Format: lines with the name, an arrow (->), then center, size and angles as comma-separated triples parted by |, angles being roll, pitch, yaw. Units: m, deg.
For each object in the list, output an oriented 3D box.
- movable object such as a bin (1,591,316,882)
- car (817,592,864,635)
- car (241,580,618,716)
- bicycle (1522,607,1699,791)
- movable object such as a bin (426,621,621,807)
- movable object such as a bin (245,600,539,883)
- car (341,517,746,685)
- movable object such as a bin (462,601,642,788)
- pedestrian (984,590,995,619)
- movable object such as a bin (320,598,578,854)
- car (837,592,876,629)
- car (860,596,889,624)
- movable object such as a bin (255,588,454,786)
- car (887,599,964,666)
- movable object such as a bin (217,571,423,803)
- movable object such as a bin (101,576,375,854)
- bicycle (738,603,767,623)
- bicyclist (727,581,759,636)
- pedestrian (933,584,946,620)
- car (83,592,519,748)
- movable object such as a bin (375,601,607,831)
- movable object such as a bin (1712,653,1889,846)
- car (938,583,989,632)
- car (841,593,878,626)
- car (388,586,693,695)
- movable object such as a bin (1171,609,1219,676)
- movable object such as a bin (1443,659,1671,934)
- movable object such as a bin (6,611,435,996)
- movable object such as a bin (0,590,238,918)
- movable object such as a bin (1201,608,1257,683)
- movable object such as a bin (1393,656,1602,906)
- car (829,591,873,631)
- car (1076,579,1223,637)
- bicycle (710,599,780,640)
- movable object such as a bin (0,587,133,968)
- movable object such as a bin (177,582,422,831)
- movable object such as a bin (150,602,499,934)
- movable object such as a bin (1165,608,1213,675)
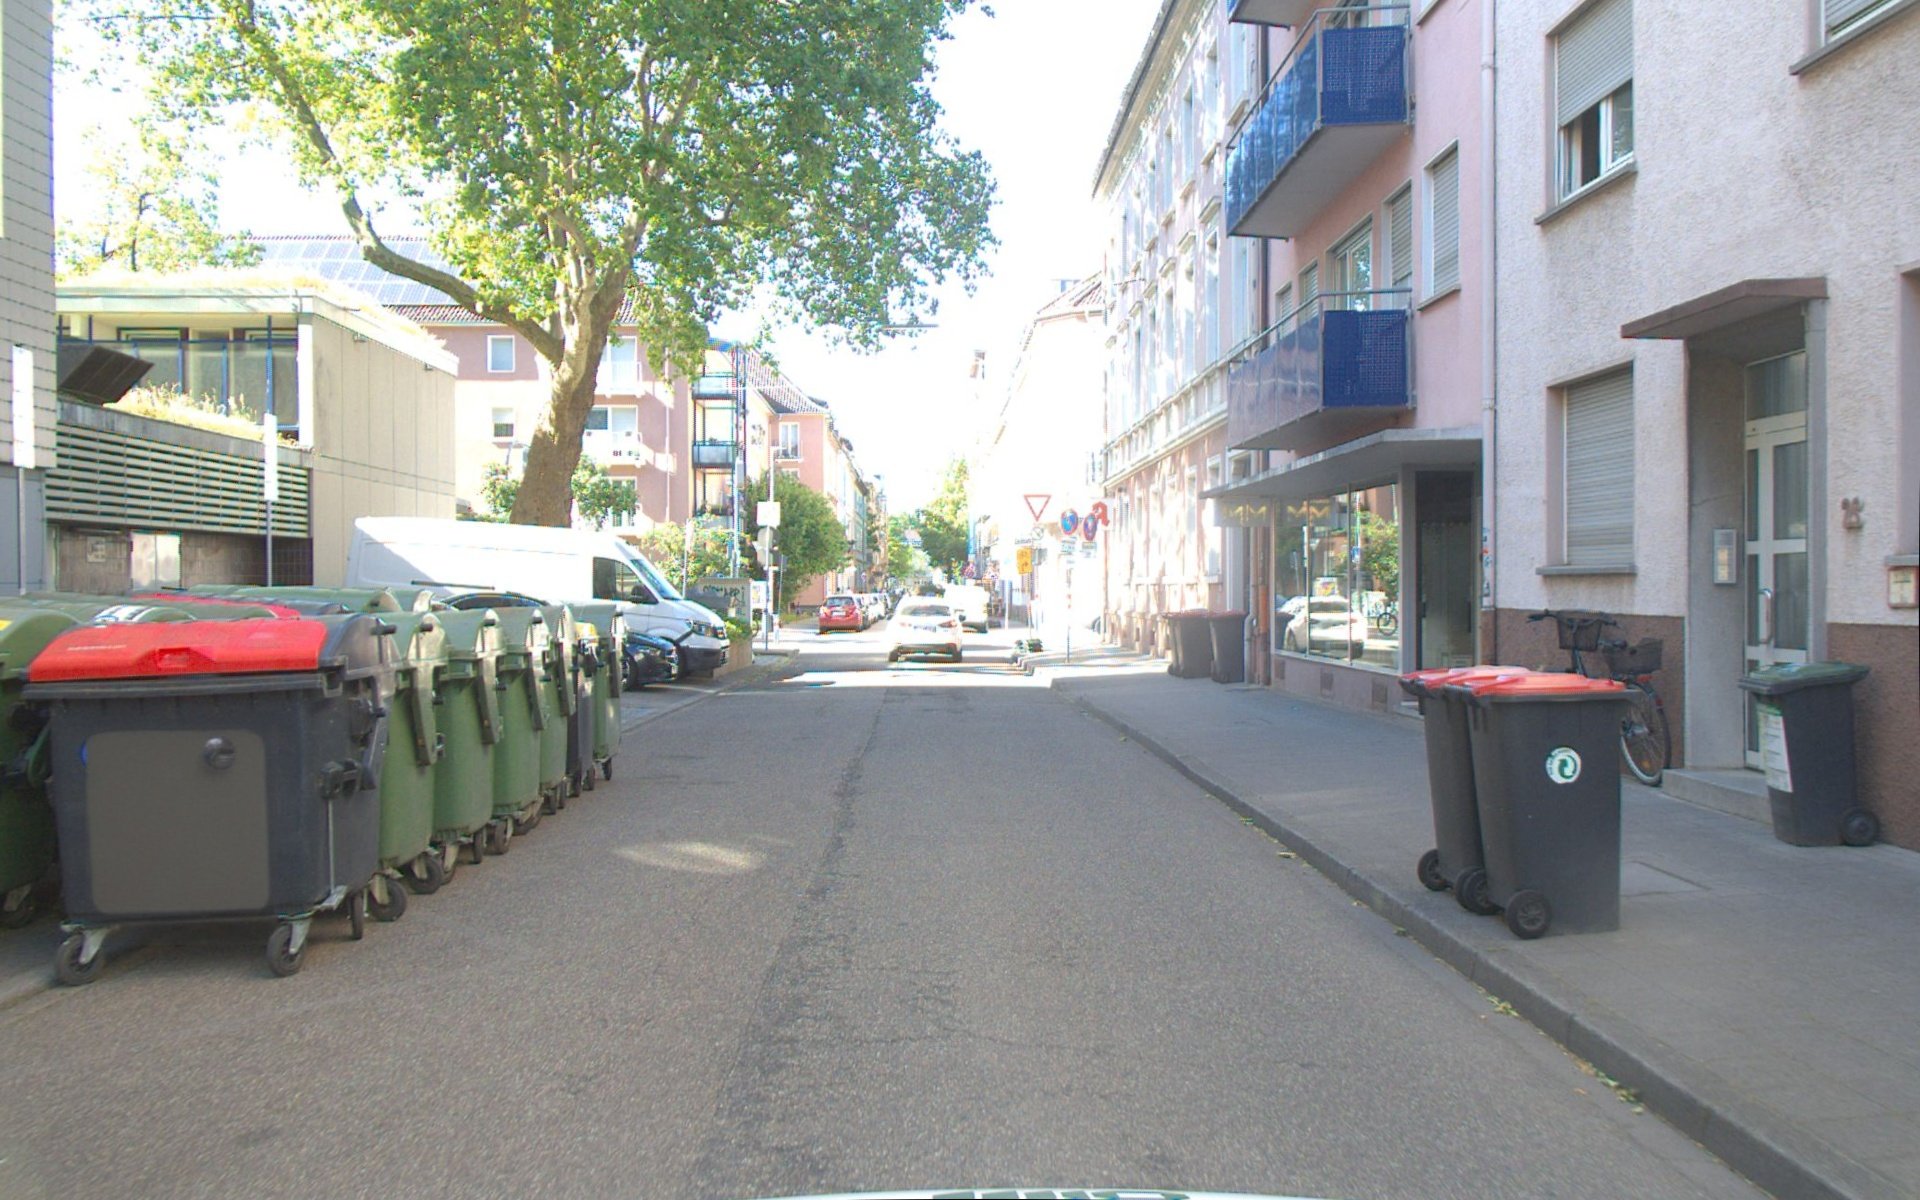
movable object such as a bin -> -4.479, 0.730, 9.349 | 1.276, 1.549, 1.017 | 0, -1, -2
car -> -4.778, 0.527, 66.521 | 1.734, 1.616, 3.725 | -1, 1, -2
car -> -6.915, 0.621, 21.956 | 4.377, 1.638, 1.914 | 1, -1, -4
bicycle -> 4.519, 0.643, 11.622 | 0.444, 1.154, 1.920 | -3, 0, 0
movable object such as a bin -> -3.281, 0.834, 12.553 | 1.216, 1.345, 1.045 | 0, -1, -2
movable object such as a bin -> -3.167, 0.759, 9.361 | 1.321, 1.513, 1.003 | 0, -1, -2
car -> -7.342, 0.026, 29.696 | 6.601, 2.599, 2.145 | 3, -1, 0
movable object such as a bin -> -3.334, 0.749, 13.651 | 1.275, 1.476, 1.116 | 0, -1, -5
pedestrian -> 1.795, 0.263, 100.660 | 0.605, 1.764, 0.560 | -1, -1, -2
movable object such as a bin -> -3.170, 0.757, 10.397 | 1.316, 1.525, 1.017 | 0, -1, -2
car -> -4.834, 0.482, 77.633 | 1.602, 1.685, 3.784 | -1, 0, -1
car -> -5.076, 0.580, 98.735 | 1.540, 1.613, 3.610 | -1, 0, -1
movable object such as a bin -> -5.022, 0.697, 13.829 | 1.327, 1.577, 1.119 | 0, -1, -7
car -> -0.879, 0.748, 40.641 | 1.787, 1.540, 3.822 | -1, 0, -2
movable object such as a bin -> -4.861, 0.636, 12.675 | 1.204, 1.682, 1.172 | 0, -1, -7
movable object such as a bin -> -4.475, 0.685, 10.352 | 1.268, 1.649, 1.017 | 0, -1, -2
bicycle -> -9.756, 0.614, 77.682 | 0.598, 0.948, 1.892 | 0, -1, -34
bicyclist -> -7.042, 0.268, 53.747 | 0.905, 1.750, 0.942 | -1, -1, 0
pedestrian -> -1.247, 0.147, 99.822 | 0.755, 2.155, 0.834 | -1, -1, -1
car -> -6.726, 0.698, 17.216 | 3.797, 1.531, 1.826 | 0, -1, -3
movable object such as a bin -> -3.211, 0.768, 11.464 | 1.307, 1.517, 1.081 | 0, -1, -2
movable object such as a bin -> 4.494, 0.783, 8.881 | 0.586, 0.968, 0.682 | -1, -1, 0
car -> 0.120, 0.314, 69.863 | 1.904, 1.982, 4.075 | 0, 0, -4
car -> -5.097, 0.495, 84.413 | 1.685, 1.604, 3.725 | -1, 0, -1
car -> -6.732, 0.630, 26.909 | 4.408, 1.496, 1.929 | 3, 0, 0
movable object such as a bin -> 3.884, 0.699, 27.363 | 0.687, 1.092, 0.596 | -1, -1, 0
movable object such as a bin -> 2.555, 0.819, 7.147 | 0.717, 1.099, 0.703 | -1, -1, 0
movable object such as a bin -> -3.114, 0.807, 7.143 | 1.293, 1.476, 1.186 | -2, -1, -2
movable object such as a bin -> -4.505, 0.720, 8.271 | 1.279, 1.525, 1.156 | 0, -1, -2
movable object such as a bin -> 4.129, 0.693, 25.423 | 0.715, 1.123, 0.692 | -1, -1, -3
movable object such as a bin -> 2.532, 0.831, 7.859 | 0.752, 1.105, 0.693 | -1, -1, 0
car -> -4.713, 0.474, 72.122 | 1.685, 1.712, 3.725 | -1, 0, -1
car -> 6.728, 0.292, 58.707 | 4.791, 1.962, 1.999 | 0, -2, 23
bicycle -> -6.975, 0.625, 53.716 | 2.119, 1.277, 0.833 | -1, -1, 0
movable object such as a bin -> -4.488, 0.714, 7.113 | 1.270, 1.524, 1.178 | 0, -1, -2
movable object such as a bin -> -4.515, 0.701, 11.415 | 1.262, 1.632, 1.081 | 0, -1, -2
movable object such as a bin -> -3.136, 0.790, 8.317 | 1.307, 1.510, 1.093 | -2, -1, -2
movable object such as a bin -> 3.871, 0.696, 27.994 | 0.730, 1.105, 0.634 | -1, -1, 0
